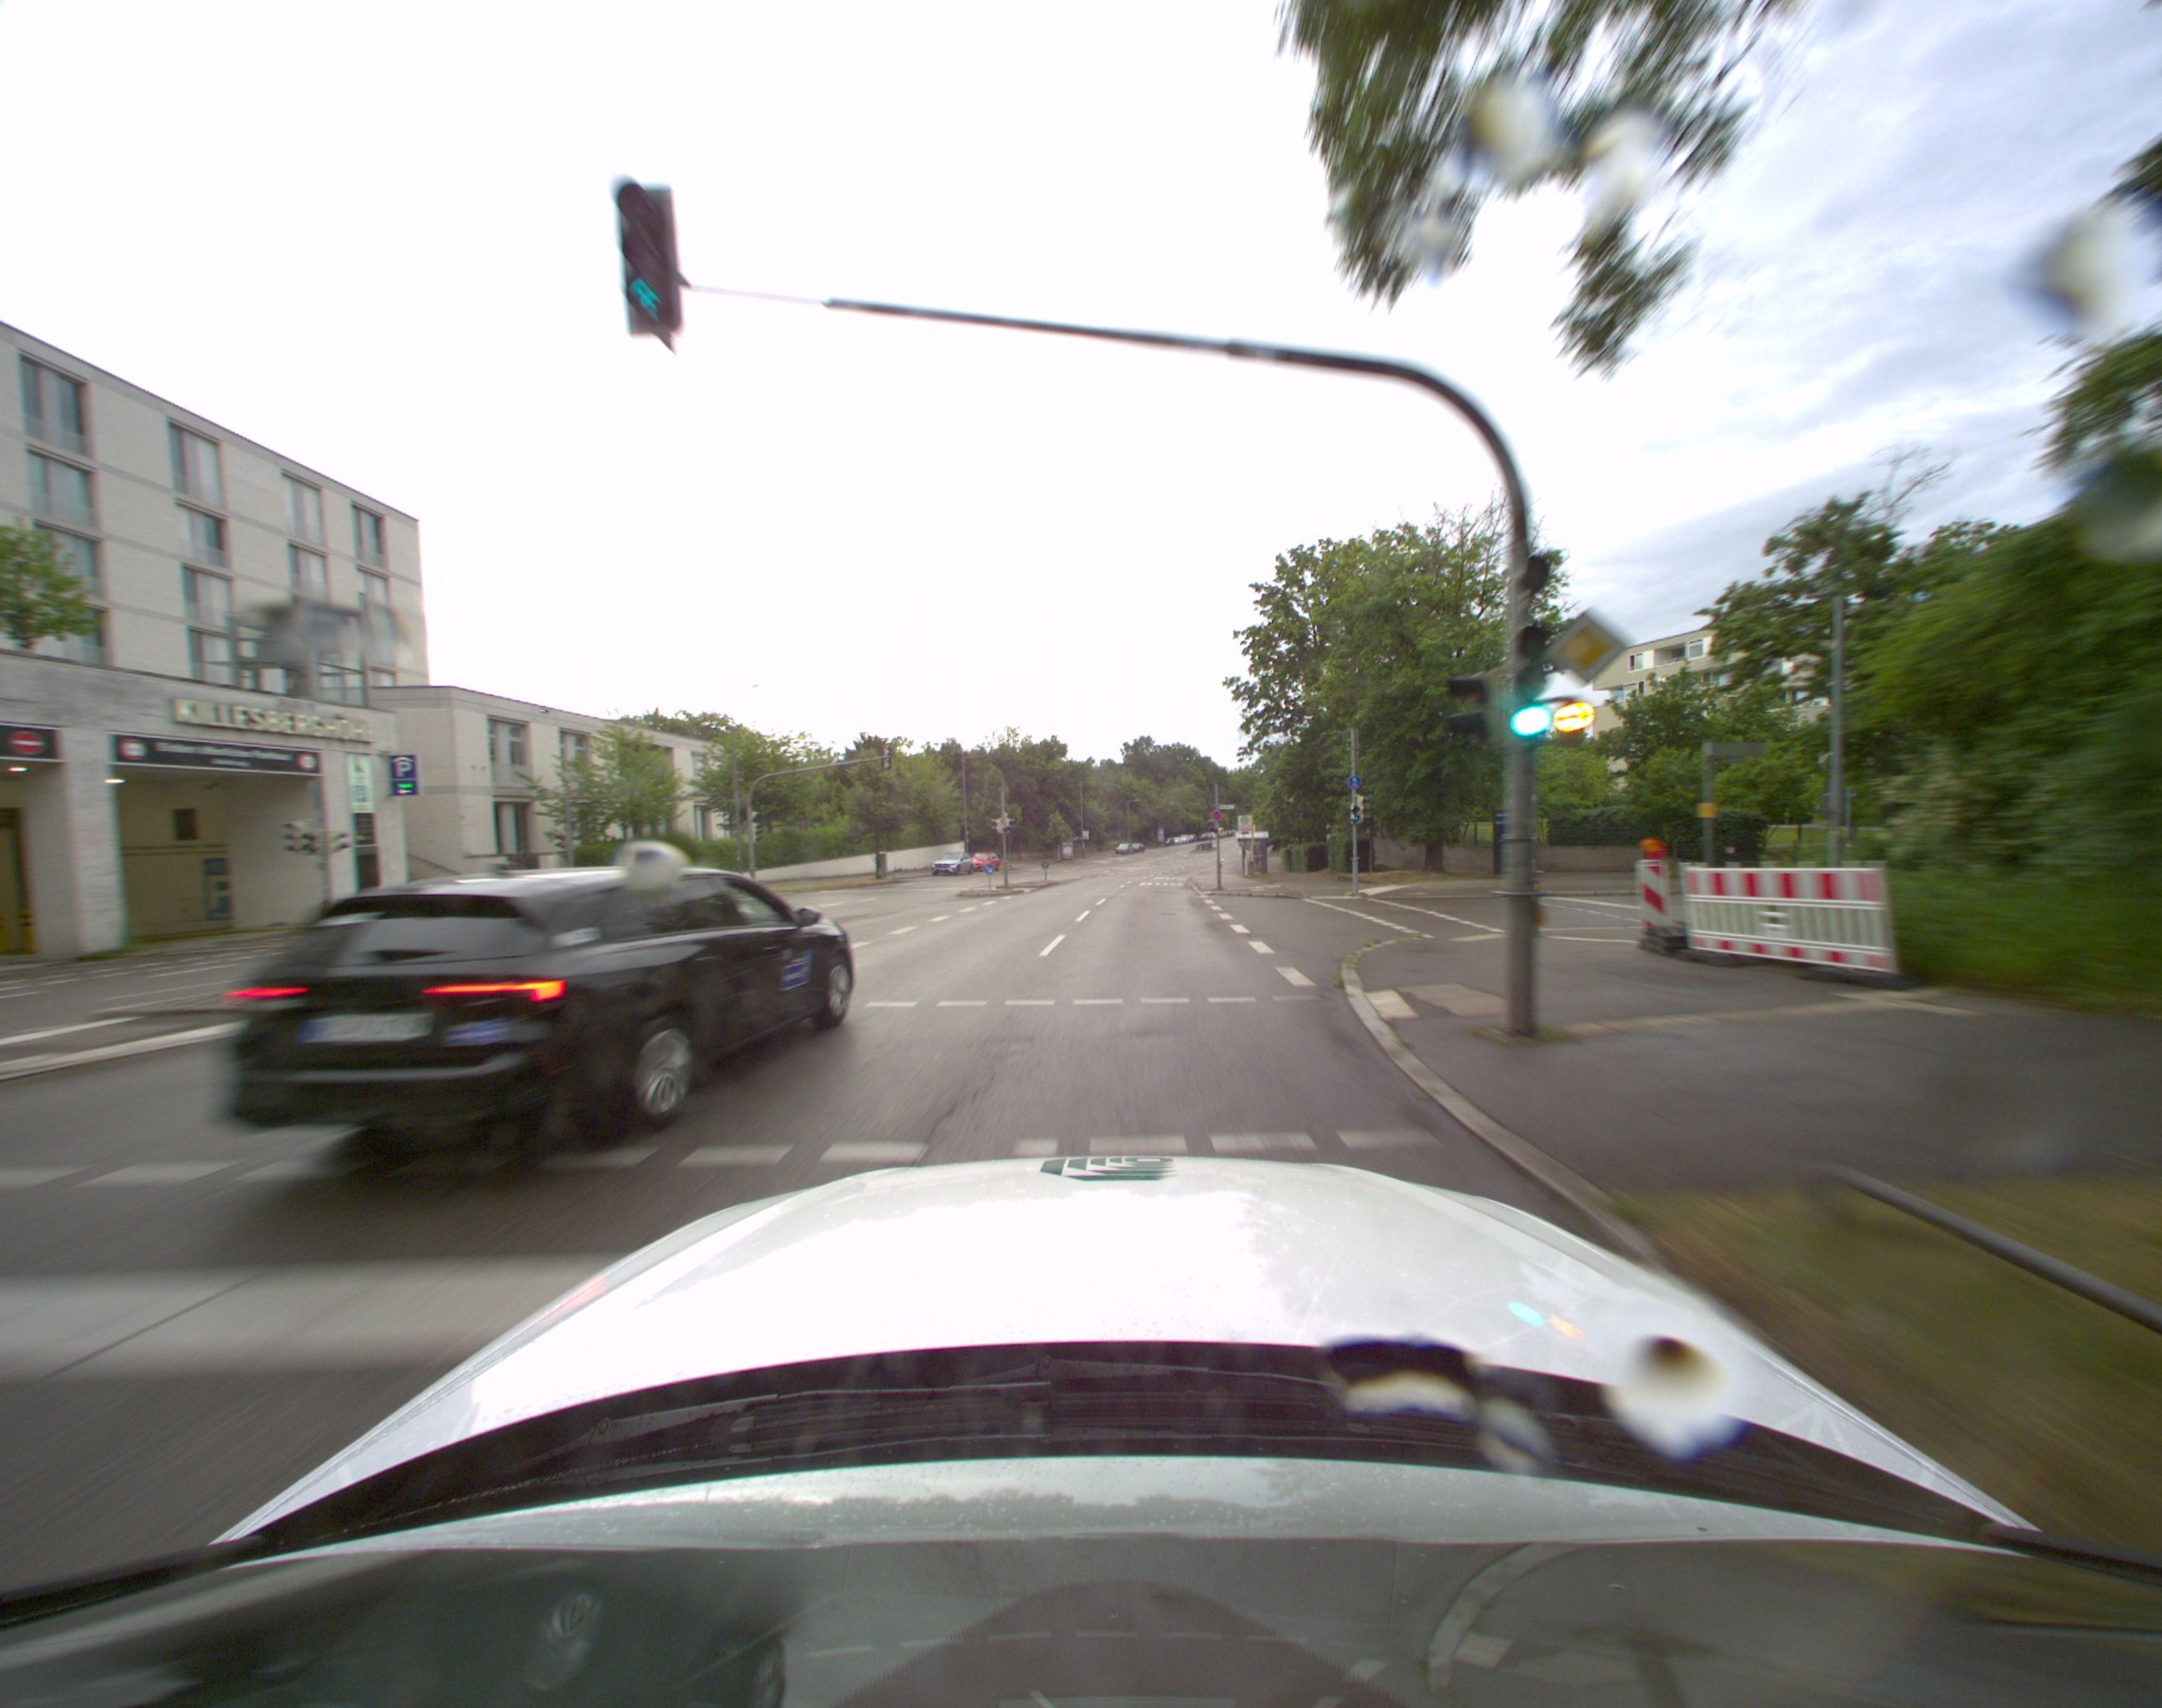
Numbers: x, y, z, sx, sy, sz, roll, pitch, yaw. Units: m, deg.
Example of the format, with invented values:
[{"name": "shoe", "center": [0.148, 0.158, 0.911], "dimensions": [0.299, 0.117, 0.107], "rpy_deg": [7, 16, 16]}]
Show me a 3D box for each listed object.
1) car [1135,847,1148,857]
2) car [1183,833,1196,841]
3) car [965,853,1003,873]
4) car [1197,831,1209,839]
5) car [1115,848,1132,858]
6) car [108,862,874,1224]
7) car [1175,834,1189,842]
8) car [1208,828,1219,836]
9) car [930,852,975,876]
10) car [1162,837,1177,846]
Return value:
[{"name": "car", "center": [9.425, -0.354, 126.257], "dimensions": [1.406, 1.424, 3.134], "rpy_deg": [-1, 0, 15]}, {"name": "car", "center": [23.016, -3.566, 172.188], "dimensions": [1.940, 1.485, 4.022], "rpy_deg": [1, 5, 20]}, {"name": "car", "center": [-7.987, 0.706, 67.470], "dimensions": [1.862, 1.575, 4.237], "rpy_deg": [0, 1, 12]}, {"name": "car", "center": [27.608, -4.302, 183.863], "dimensions": [1.940, 1.485, 4.022], "rpy_deg": [1, 5, 20]}, {"name": "car", "center": [6.372, -0.190, 120.587], "dimensions": [1.700, 1.460, 3.766], "rpy_deg": [-1, 0, 15]}, {"name": "car", "center": [-3.060, 0.799, 5.659], "dimensions": [1.791, 1.430, 4.525], "rpy_deg": [0, 0, 4]}, {"name": "car", "center": [20.389, -3.212, 163.969], "dimensions": [1.940, 1.485, 4.022], "rpy_deg": [1, 5, 20]}, {"name": "car", "center": [31.385, -5.231, 193.082], "dimensions": [1.940, 1.617, 4.022], "rpy_deg": [1, 5, 20]}, {"name": "car", "center": [-9.436, 0.699, 60.196], "dimensions": [1.840, 1.639, 4.109], "rpy_deg": [1, 2, 13]}, {"name": "car", "center": [16.847, -2.427, 154.542], "dimensions": [1.940, 1.485, 4.022], "rpy_deg": [1, 5, 20]}]
